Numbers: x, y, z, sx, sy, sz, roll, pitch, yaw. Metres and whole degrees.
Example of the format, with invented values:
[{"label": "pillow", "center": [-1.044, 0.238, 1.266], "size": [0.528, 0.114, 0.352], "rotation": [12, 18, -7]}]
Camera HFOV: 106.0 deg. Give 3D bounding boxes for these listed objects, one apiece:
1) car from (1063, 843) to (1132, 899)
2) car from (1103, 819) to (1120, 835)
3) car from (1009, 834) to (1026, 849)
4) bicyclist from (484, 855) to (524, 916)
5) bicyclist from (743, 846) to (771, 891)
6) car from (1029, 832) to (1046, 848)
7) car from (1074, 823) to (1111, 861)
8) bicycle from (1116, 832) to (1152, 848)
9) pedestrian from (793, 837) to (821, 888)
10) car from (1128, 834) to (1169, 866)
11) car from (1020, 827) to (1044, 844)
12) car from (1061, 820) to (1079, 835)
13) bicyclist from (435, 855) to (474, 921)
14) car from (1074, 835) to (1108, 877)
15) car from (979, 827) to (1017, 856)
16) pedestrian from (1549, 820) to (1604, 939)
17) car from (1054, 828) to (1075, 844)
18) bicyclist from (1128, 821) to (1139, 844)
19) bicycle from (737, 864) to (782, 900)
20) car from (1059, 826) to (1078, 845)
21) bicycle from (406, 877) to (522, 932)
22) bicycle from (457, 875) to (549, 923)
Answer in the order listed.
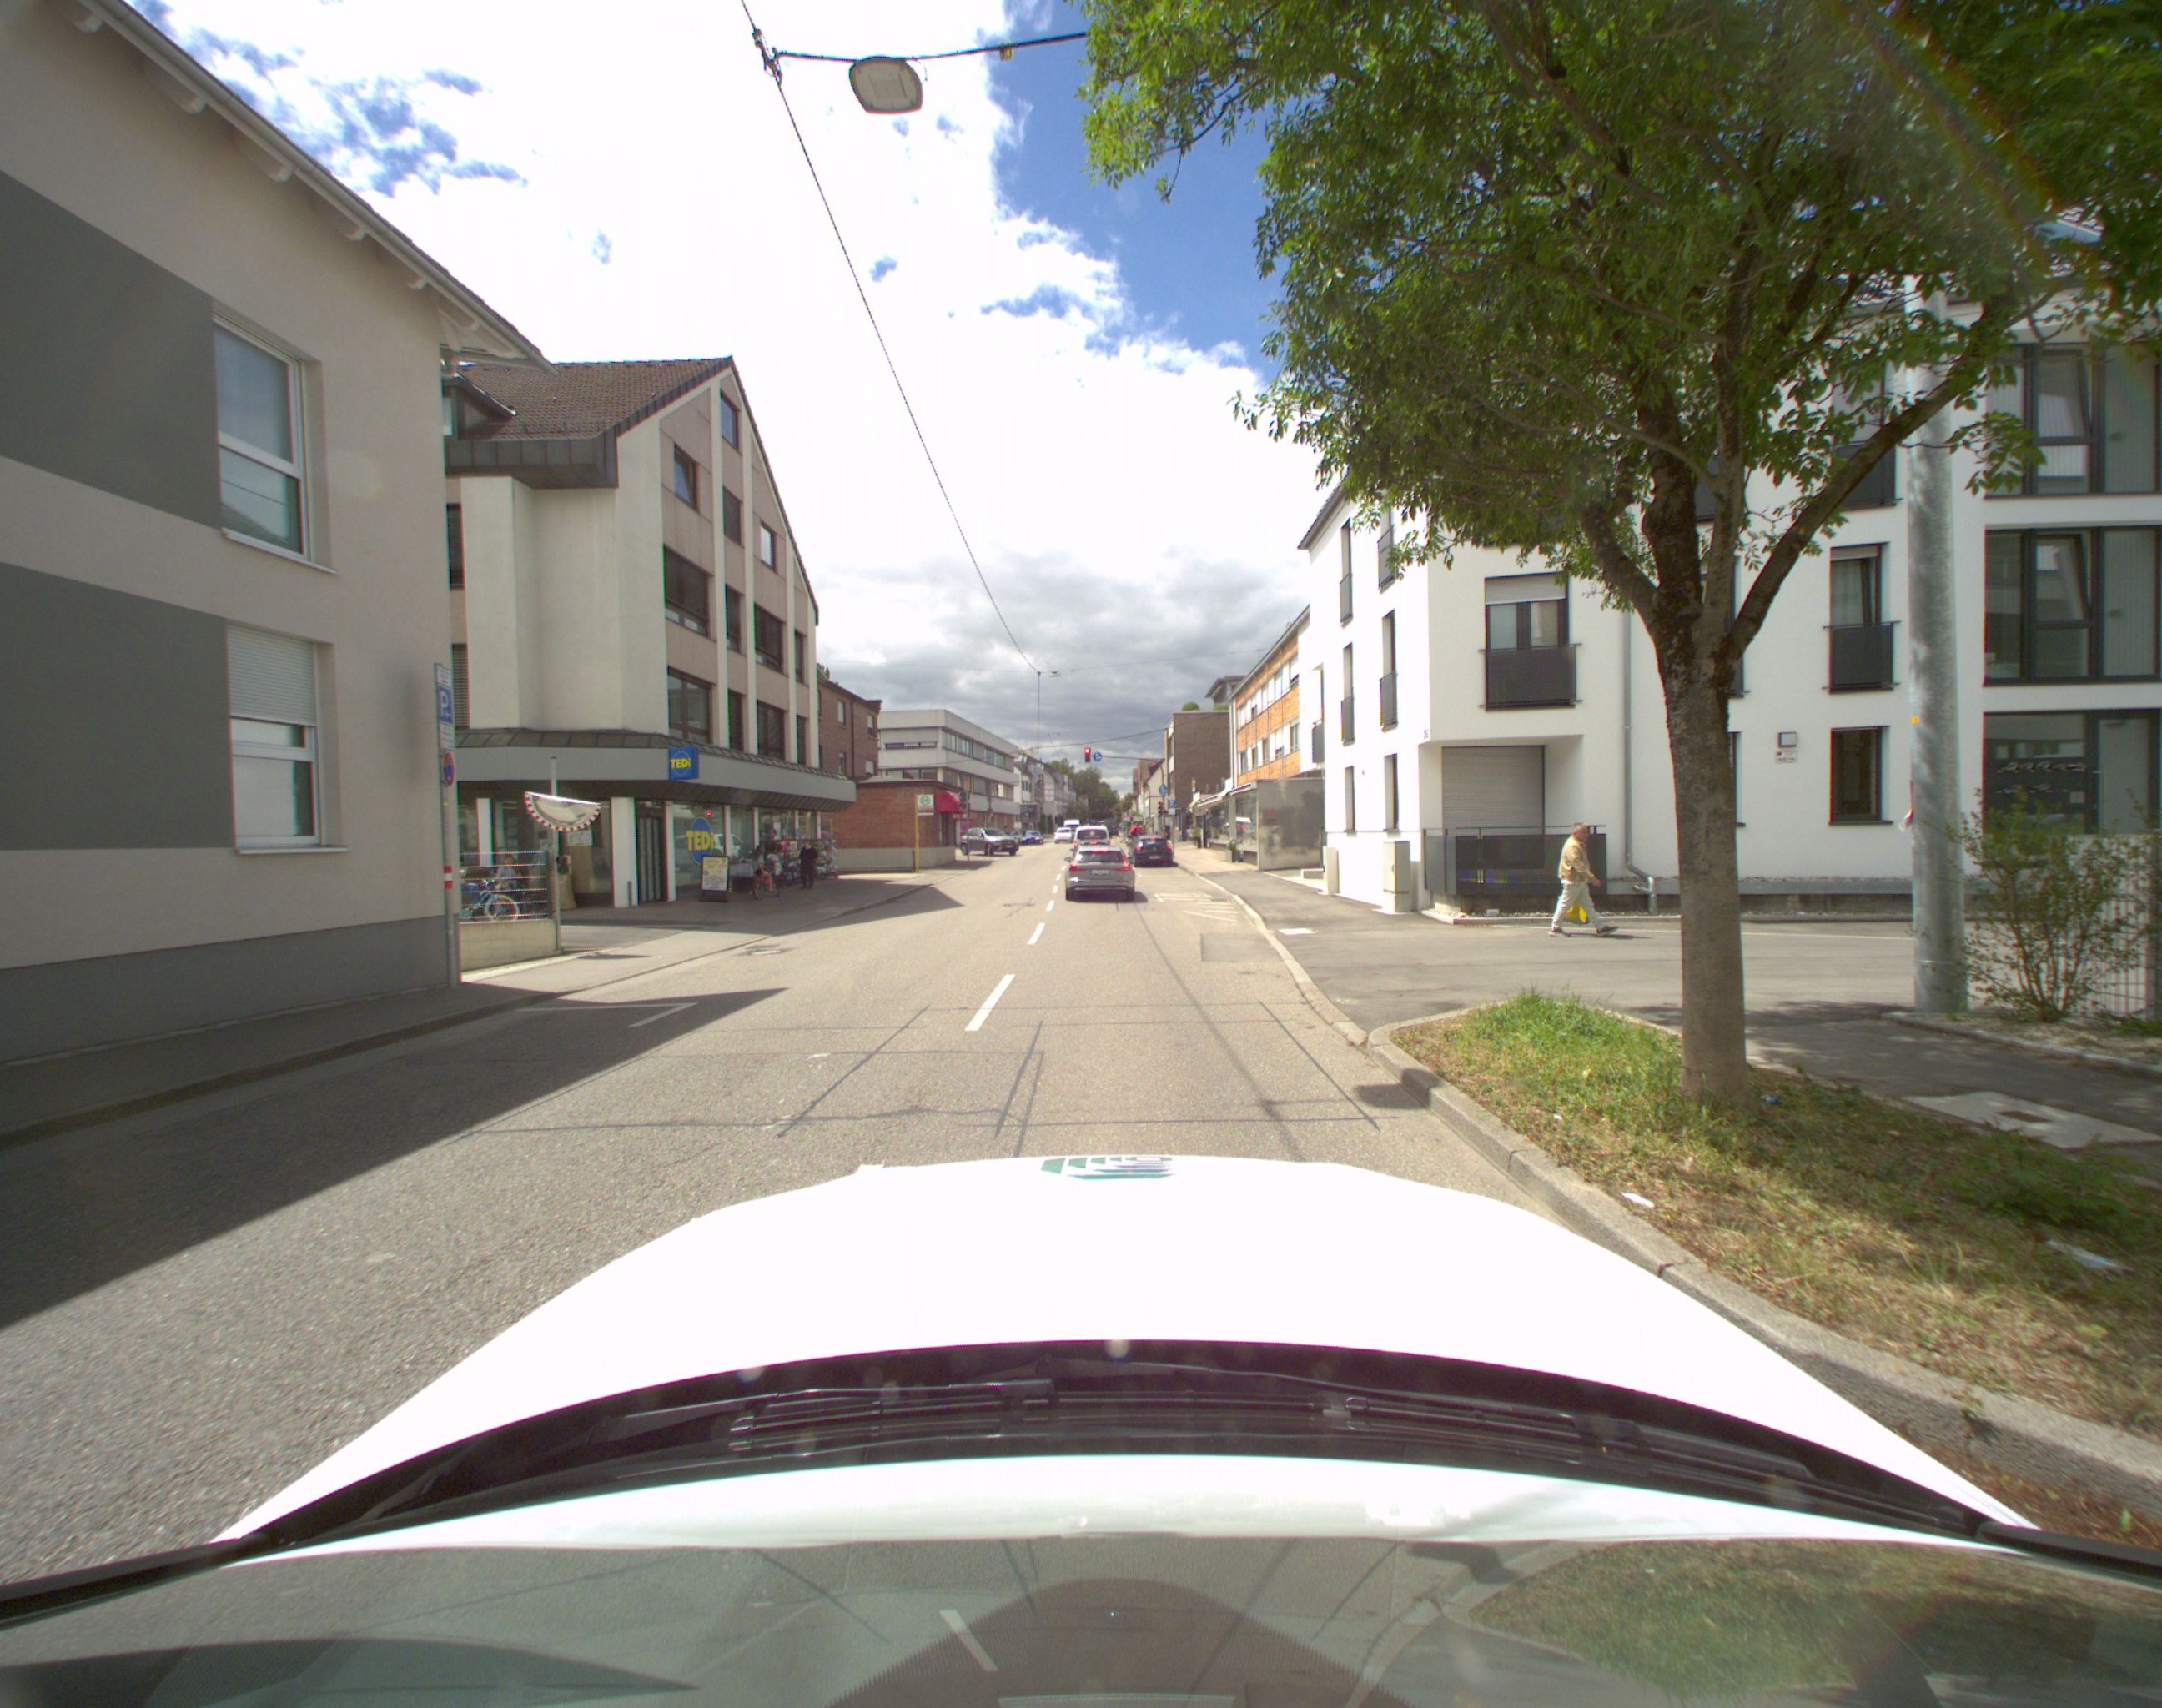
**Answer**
[{"label": "car", "center": [0.493, 0.438, 22.842], "size": [1.737, 1.417, 4.002], "rotation": [-1, 0, 2]}, {"label": "car", "center": [4.577, -4.013, 122.779], "size": [2.427, 2.318, 5.328], "rotation": [0, 0, 2]}, {"label": "car", "center": [-6.731, -1.299, 86.737], "size": [1.379, 1.541, 3.400], "rotation": [-1, -1, 2]}, {"label": "bicyclist", "center": [-11.318, 0.612, 15.989], "size": [0.496, 1.181, 0.397], "rotation": [0, 0, 1]}, {"label": "bicyclist", "center": [-8.715, 0.394, 21.926], "size": [0.456, 1.179, 0.625], "rotation": [-1, 0, 2]}, {"label": "car", "center": [-5.695, -1.791, 106.799], "size": [1.986, 2.014, 4.001], "rotation": [0, 0, 1]}, {"label": "car", "center": [0.629, -0.575, 42.334], "size": [1.829, 1.862, 3.852], "rotation": [0, 0, 2]}, {"label": "bicycle", "center": [3.812, -0.997, 58.668], "size": [2.514, 1.174, 0.585], "rotation": [0, 0, 2]}, {"label": "pedestrian", "center": [-8.624, 0.271, 25.637], "size": [0.624, 1.602, 0.564], "rotation": [0, 0, 7]}, {"label": "car", "center": [3.143, -0.176, 38.529], "size": [1.746, 1.371, 4.002], "rotation": [-1, 0, 2]}, {"label": "car", "center": [-4.840, -1.823, 81.673], "size": [1.864, 1.640, 4.004], "rotation": [0, 0, 4]}, {"label": "car", "center": [-1.324, -3.233, 99.844], "size": [1.864, 1.640, 4.004], "rotation": [-1, -1, 4]}, {"label": "bicyclist", "center": [-11.502, 0.606, 14.950], "size": [0.392, 1.181, 0.502], "rotation": [0, 0, 42]}, {"label": "car", "center": [0.413, 0.039, 32.948], "size": [1.269, 1.527, 3.052], "rotation": [-1, 3, 1]}, {"label": "car", "center": [-5.399, -0.775, 52.643], "size": [1.842, 1.726, 4.331], "rotation": [-1, 0, -14]}, {"label": "pedestrian", "center": [7.142, 0.357, 11.762], "size": [0.608, 1.647, 0.744], "rotation": [-2, -1, 29]}, {"label": "car", "center": [-1.715, -1.870, 85.266], "size": [1.864, 1.640, 4.004], "rotation": [0, 0, 4]}, {"label": "bicyclist", "center": [3.803, -1.532, 58.687], "size": [0.769, 1.606, 0.581], "rotation": [-1, -1, 1]}, {"label": "bicycle", "center": [-8.692, 0.742, 22.075], "size": [0.465, 0.861, 1.778], "rotation": [0, 2, 2]}, {"label": "car", "center": [-1.364, -2.080, 91.727], "size": [1.986, 2.014, 4.002], "rotation": [0, 0, 2]}, {"label": "bicycle", "center": [-11.381, 0.918, 15.074], "size": [0.299, 0.896, 1.663], "rotation": [-1, 0, 42]}, {"label": "bicycle", "center": [-11.332, 0.876, 15.970], "size": [1.546, 0.896, 0.303], "rotation": [-1, 0, -1]}]
